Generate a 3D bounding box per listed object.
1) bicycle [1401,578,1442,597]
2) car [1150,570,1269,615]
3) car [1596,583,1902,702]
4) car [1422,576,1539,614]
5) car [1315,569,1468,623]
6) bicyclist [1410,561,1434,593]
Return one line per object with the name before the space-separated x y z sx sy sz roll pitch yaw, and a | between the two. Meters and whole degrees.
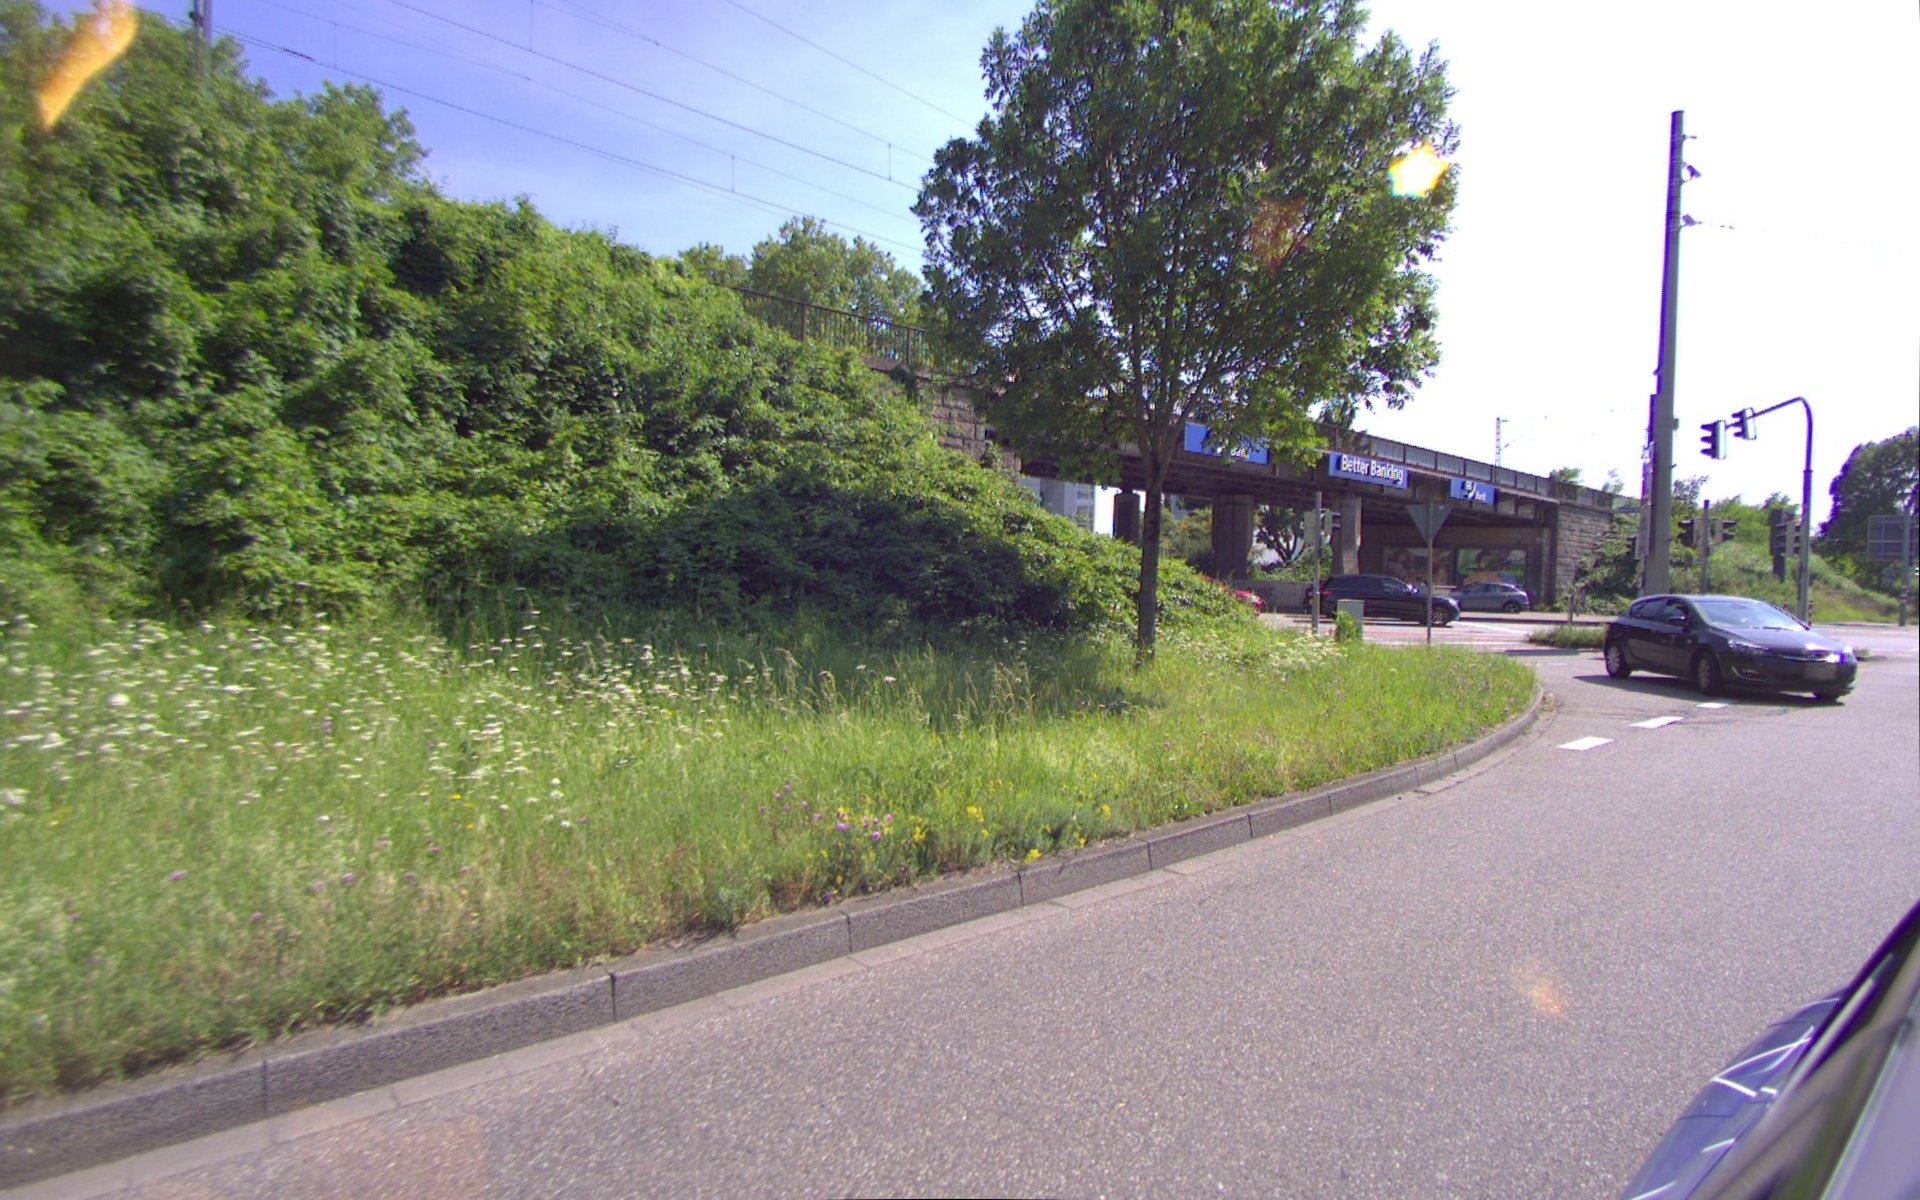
bicycle | 24.233 -0.670 53.204 1.904 0.904 0.811 2 -1 22
car | 8.742 -0.292 35.586 3.941 1.437 1.701 2 1 14
car | 11.973 0.532 15.792 1.797 1.525 4.208 1 1 7
car | 24.238 -0.261 47.294 4.497 1.569 1.821 2 1 16
car | 14.412 -0.149 34.067 4.377 1.616 1.993 2 1 12
bicyclist | 24.279 -1.199 53.200 1.056 1.654 0.800 2 -1 22
